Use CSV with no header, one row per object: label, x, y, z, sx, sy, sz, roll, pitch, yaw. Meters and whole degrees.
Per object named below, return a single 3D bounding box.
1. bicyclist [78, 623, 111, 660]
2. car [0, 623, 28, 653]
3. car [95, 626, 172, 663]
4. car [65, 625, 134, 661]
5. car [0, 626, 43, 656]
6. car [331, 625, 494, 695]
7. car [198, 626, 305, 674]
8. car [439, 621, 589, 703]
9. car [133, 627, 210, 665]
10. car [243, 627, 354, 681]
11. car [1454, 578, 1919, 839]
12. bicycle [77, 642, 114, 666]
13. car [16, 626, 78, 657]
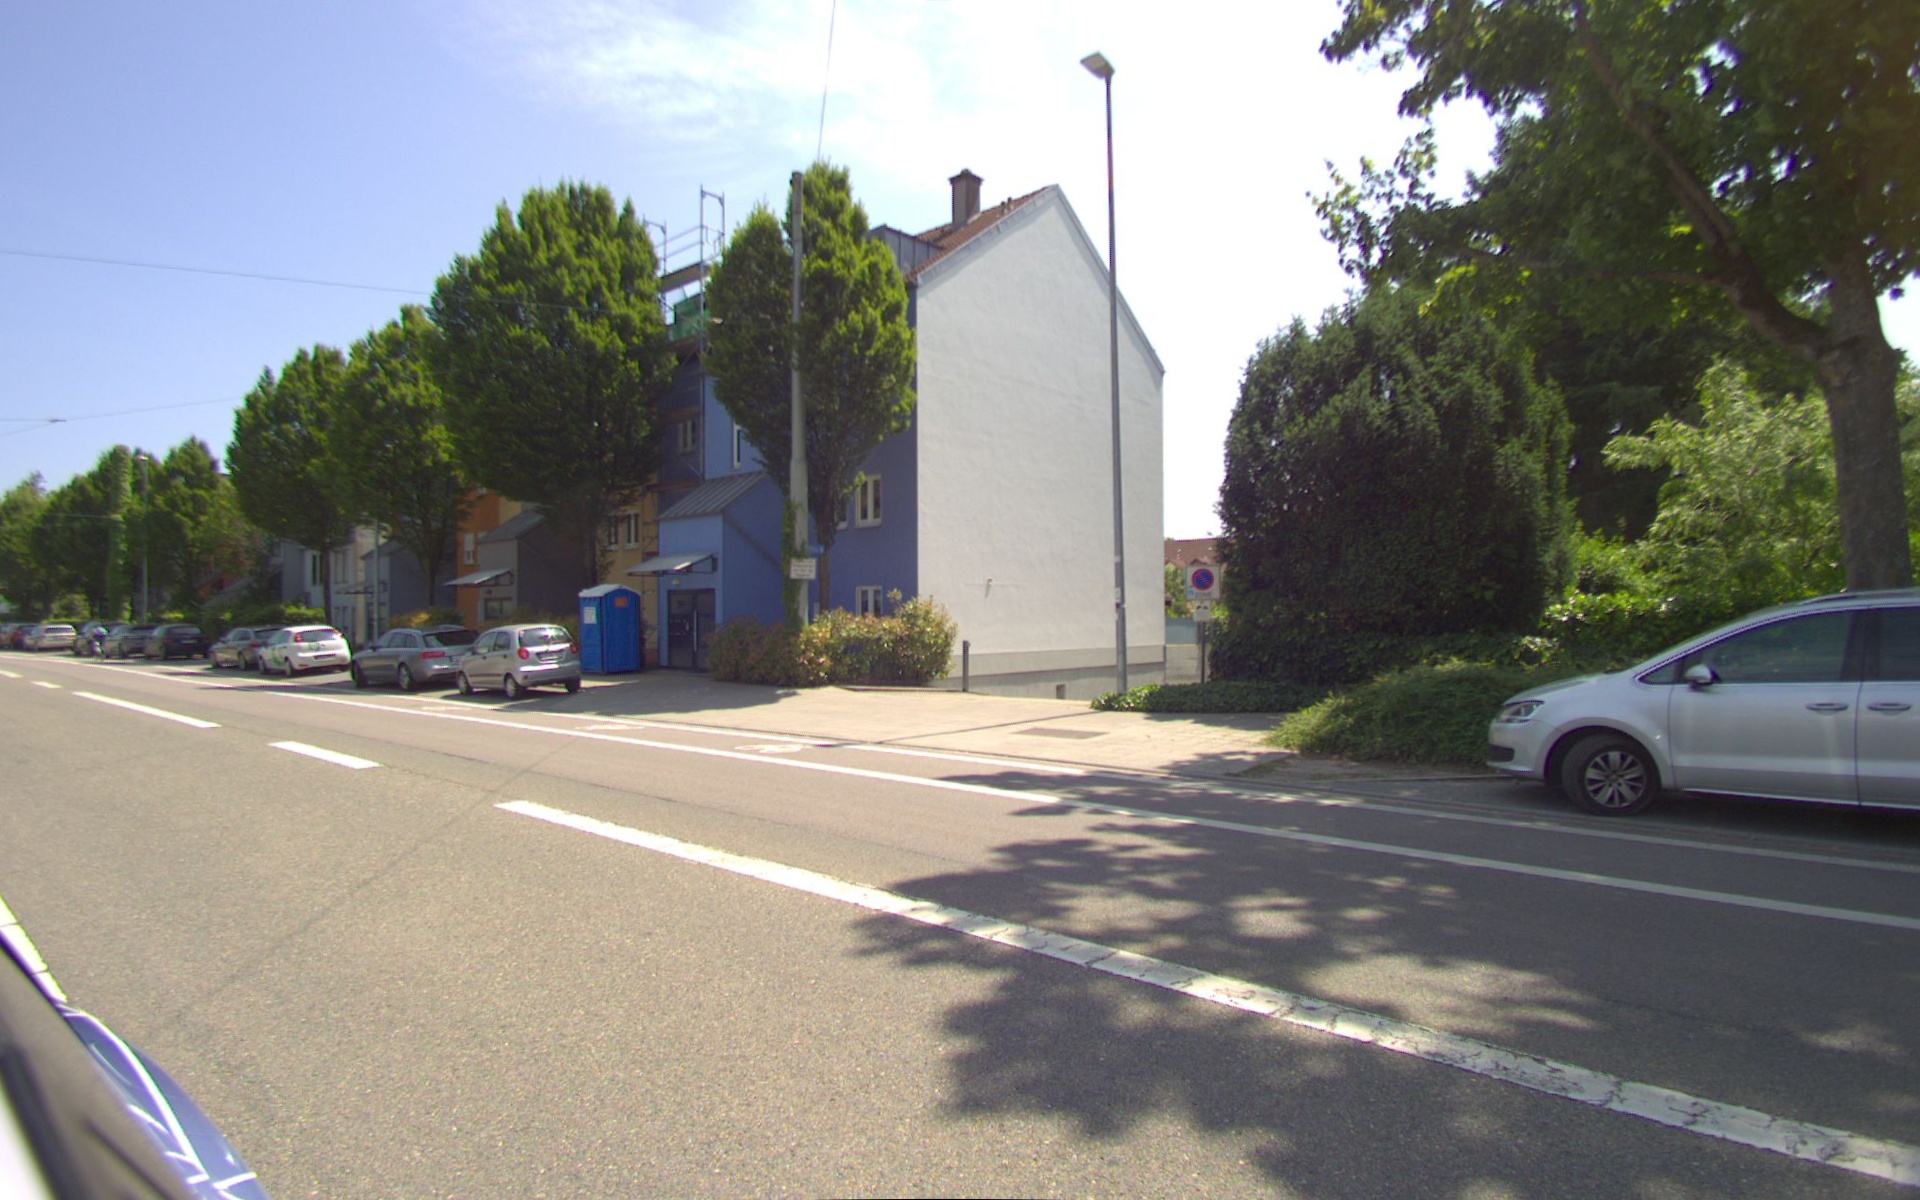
bicyclist,-35.141,1.680,41.099,1.123,1.442,0.728,-1,-5,38
car,-60.179,2.361,63.214,4.548,1.807,1.976,-1,-1,35
car,-37.687,2.014,46.113,4.752,1.507,1.807,-2,0,39
car,-42.268,2.099,49.702,4.142,1.601,1.750,-2,0,38
car,-56.018,2.435,60.070,3.673,1.606,1.586,-2,0,35
car,-13.802,1.463,25.363,5.129,1.461,1.769,-2,2,40
car,-25.047,1.724,35.698,4.744,1.440,1.688,-2,3,38
car,-9.712,1.292,21.945,3.447,1.506,1.577,-2,3,41
car,-33.465,1.908,42.923,4.254,1.443,1.732,-2,1,40
car,-21.020,1.670,32.089,4.417,1.453,1.729,-2,3,41
car,6.479,0.705,7.453,4.778,1.677,1.853,-2,-1,41
bicycle,-35.141,2.182,41.115,2.240,0.958,0.695,-2,-4,39
car,-51.162,2.296,56.701,4.490,1.594,1.823,-2,0,38
